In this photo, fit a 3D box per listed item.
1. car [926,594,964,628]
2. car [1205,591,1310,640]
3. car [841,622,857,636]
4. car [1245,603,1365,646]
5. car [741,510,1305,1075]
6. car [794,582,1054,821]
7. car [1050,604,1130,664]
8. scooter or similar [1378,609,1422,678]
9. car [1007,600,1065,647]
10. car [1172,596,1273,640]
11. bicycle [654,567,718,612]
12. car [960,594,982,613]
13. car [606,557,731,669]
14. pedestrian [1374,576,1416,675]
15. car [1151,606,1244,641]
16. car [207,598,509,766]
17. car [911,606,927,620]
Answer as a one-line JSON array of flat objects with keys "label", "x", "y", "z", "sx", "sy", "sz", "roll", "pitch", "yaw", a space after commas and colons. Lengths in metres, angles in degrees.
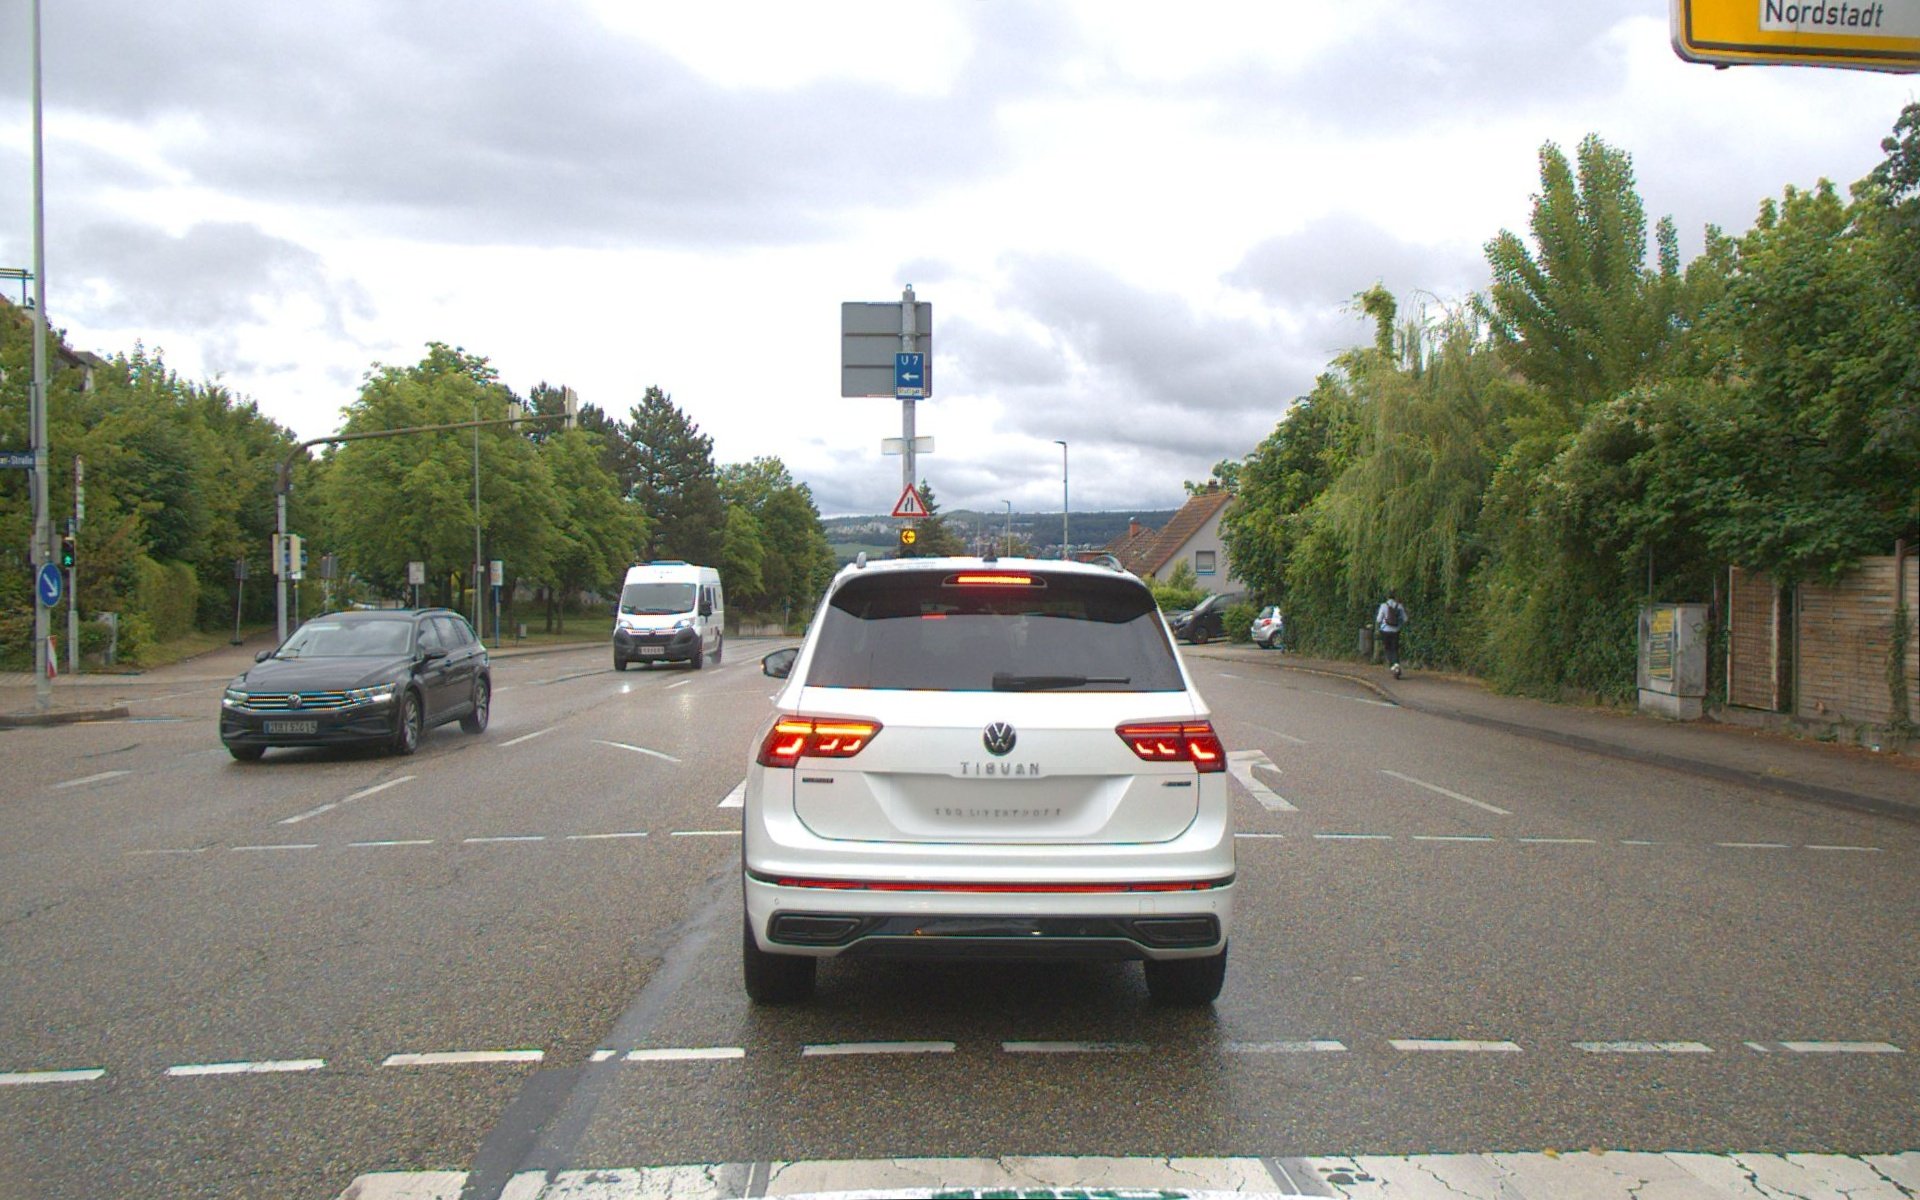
[{"label": "car", "x": -0.765, "y": 0.516, "z": 82.496, "sx": 1.701, "sy": 1.602, "sz": 4.066, "roll": 1, "pitch": 0, "yaw": -3}, {"label": "car", "x": 11.135, "y": 0.567, "z": 62.047, "sx": 3.556, "sy": 1.777, "sz": 1.706, "roll": 0, "pitch": 1, "yaw": -5}, {"label": "car", "x": -15.455, "y": 4.051, "z": 229.759, "sx": 1.953, "sy": 1.758, "sz": 3.999, "roll": 2, "pitch": 0, "yaw": -1}, {"label": "car", "x": 11.797, "y": 0.838, "z": 56.680, "sx": 3.644, "sy": 1.420, "sz": 1.725, "roll": 0, "pitch": -1, "yaw": -8}, {"label": "car", "x": 0.145, "y": 0.604, "z": 7.348, "sx": 1.727, "sy": 1.725, "sz": 4.271, "roll": 2, "pitch": 0, "yaw": -2}, {"label": "car", "x": -0.256, "y": 0.692, "z": 13.280, "sx": 1.762, "sy": 1.617, "sz": 3.926, "roll": 1, "pitch": 0, "yaw": 0}, {"label": "car", "x": 3.287, "y": 0.843, "z": 42.479, "sx": 1.593, "sy": 1.427, "sz": 3.688, "roll": 1, "pitch": 0, "yaw": -2}, {"label": "scooter or similar", "x": 9.004, "y": 0.874, "z": 33.883, "sx": 0.452, "sy": 1.385, "sz": 1.383, "roll": 0, "pitch": 0, "yaw": -4}, {"label": "car", "x": 2.552, "y": 0.774, "z": 56.464, "sx": 1.631, "sy": 1.452, "sz": 4.303, "roll": 2, "pitch": 0, "yaw": -2}, {"label": "car", "x": 10.195, "y": 0.674, "z": 64.405, "sx": 3.556, "sy": 1.654, "sz": 1.789, "roll": 0, "pitch": 1, "yaw": -5}, {"label": "bicycle", "x": -7.314, "y": -0.285, "z": 44.189, "sx": 1.603, "sy": 1.145, "sz": 0.468, "roll": -2, "pitch": 1, "yaw": -3}, {"label": "car", "x": 0.960, "y": 0.317, "z": 145.771, "sx": 1.813, "sy": 1.602, "sz": 3.999, "roll": -1, "pitch": 0, "yaw": -1}, {"label": "car", "x": -7.124, "y": 0.284, "z": 41.078, "sx": 2.251, "sy": 2.572, "sz": 5.771, "roll": 0, "pitch": 0, "yaw": -2}, {"label": "pedestrian", "x": 9.000, "y": 0.523, "z": 34.206, "sx": 0.642, "sy": 2.037, "sz": 0.717, "roll": 0, "pitch": 0, "yaw": -4}, {"label": "car", "x": 9.934, "y": 0.984, "z": 69.321, "sx": 3.613, "sy": 1.394, "sz": 1.518, "roll": 1, "pitch": -2, "yaw": -3}, {"label": "car", "x": -6.405, "y": 0.785, "z": 18.166, "sx": 1.740, "sy": 1.528, "sz": 4.470, "roll": -3, "pitch": 0, "yaw": -2}, {"label": "car", "x": -4.944, "y": 1.541, "z": 200.935, "sx": 1.813, "sy": 1.602, "sz": 3.999, "roll": -1, "pitch": 0, "yaw": -1}]
